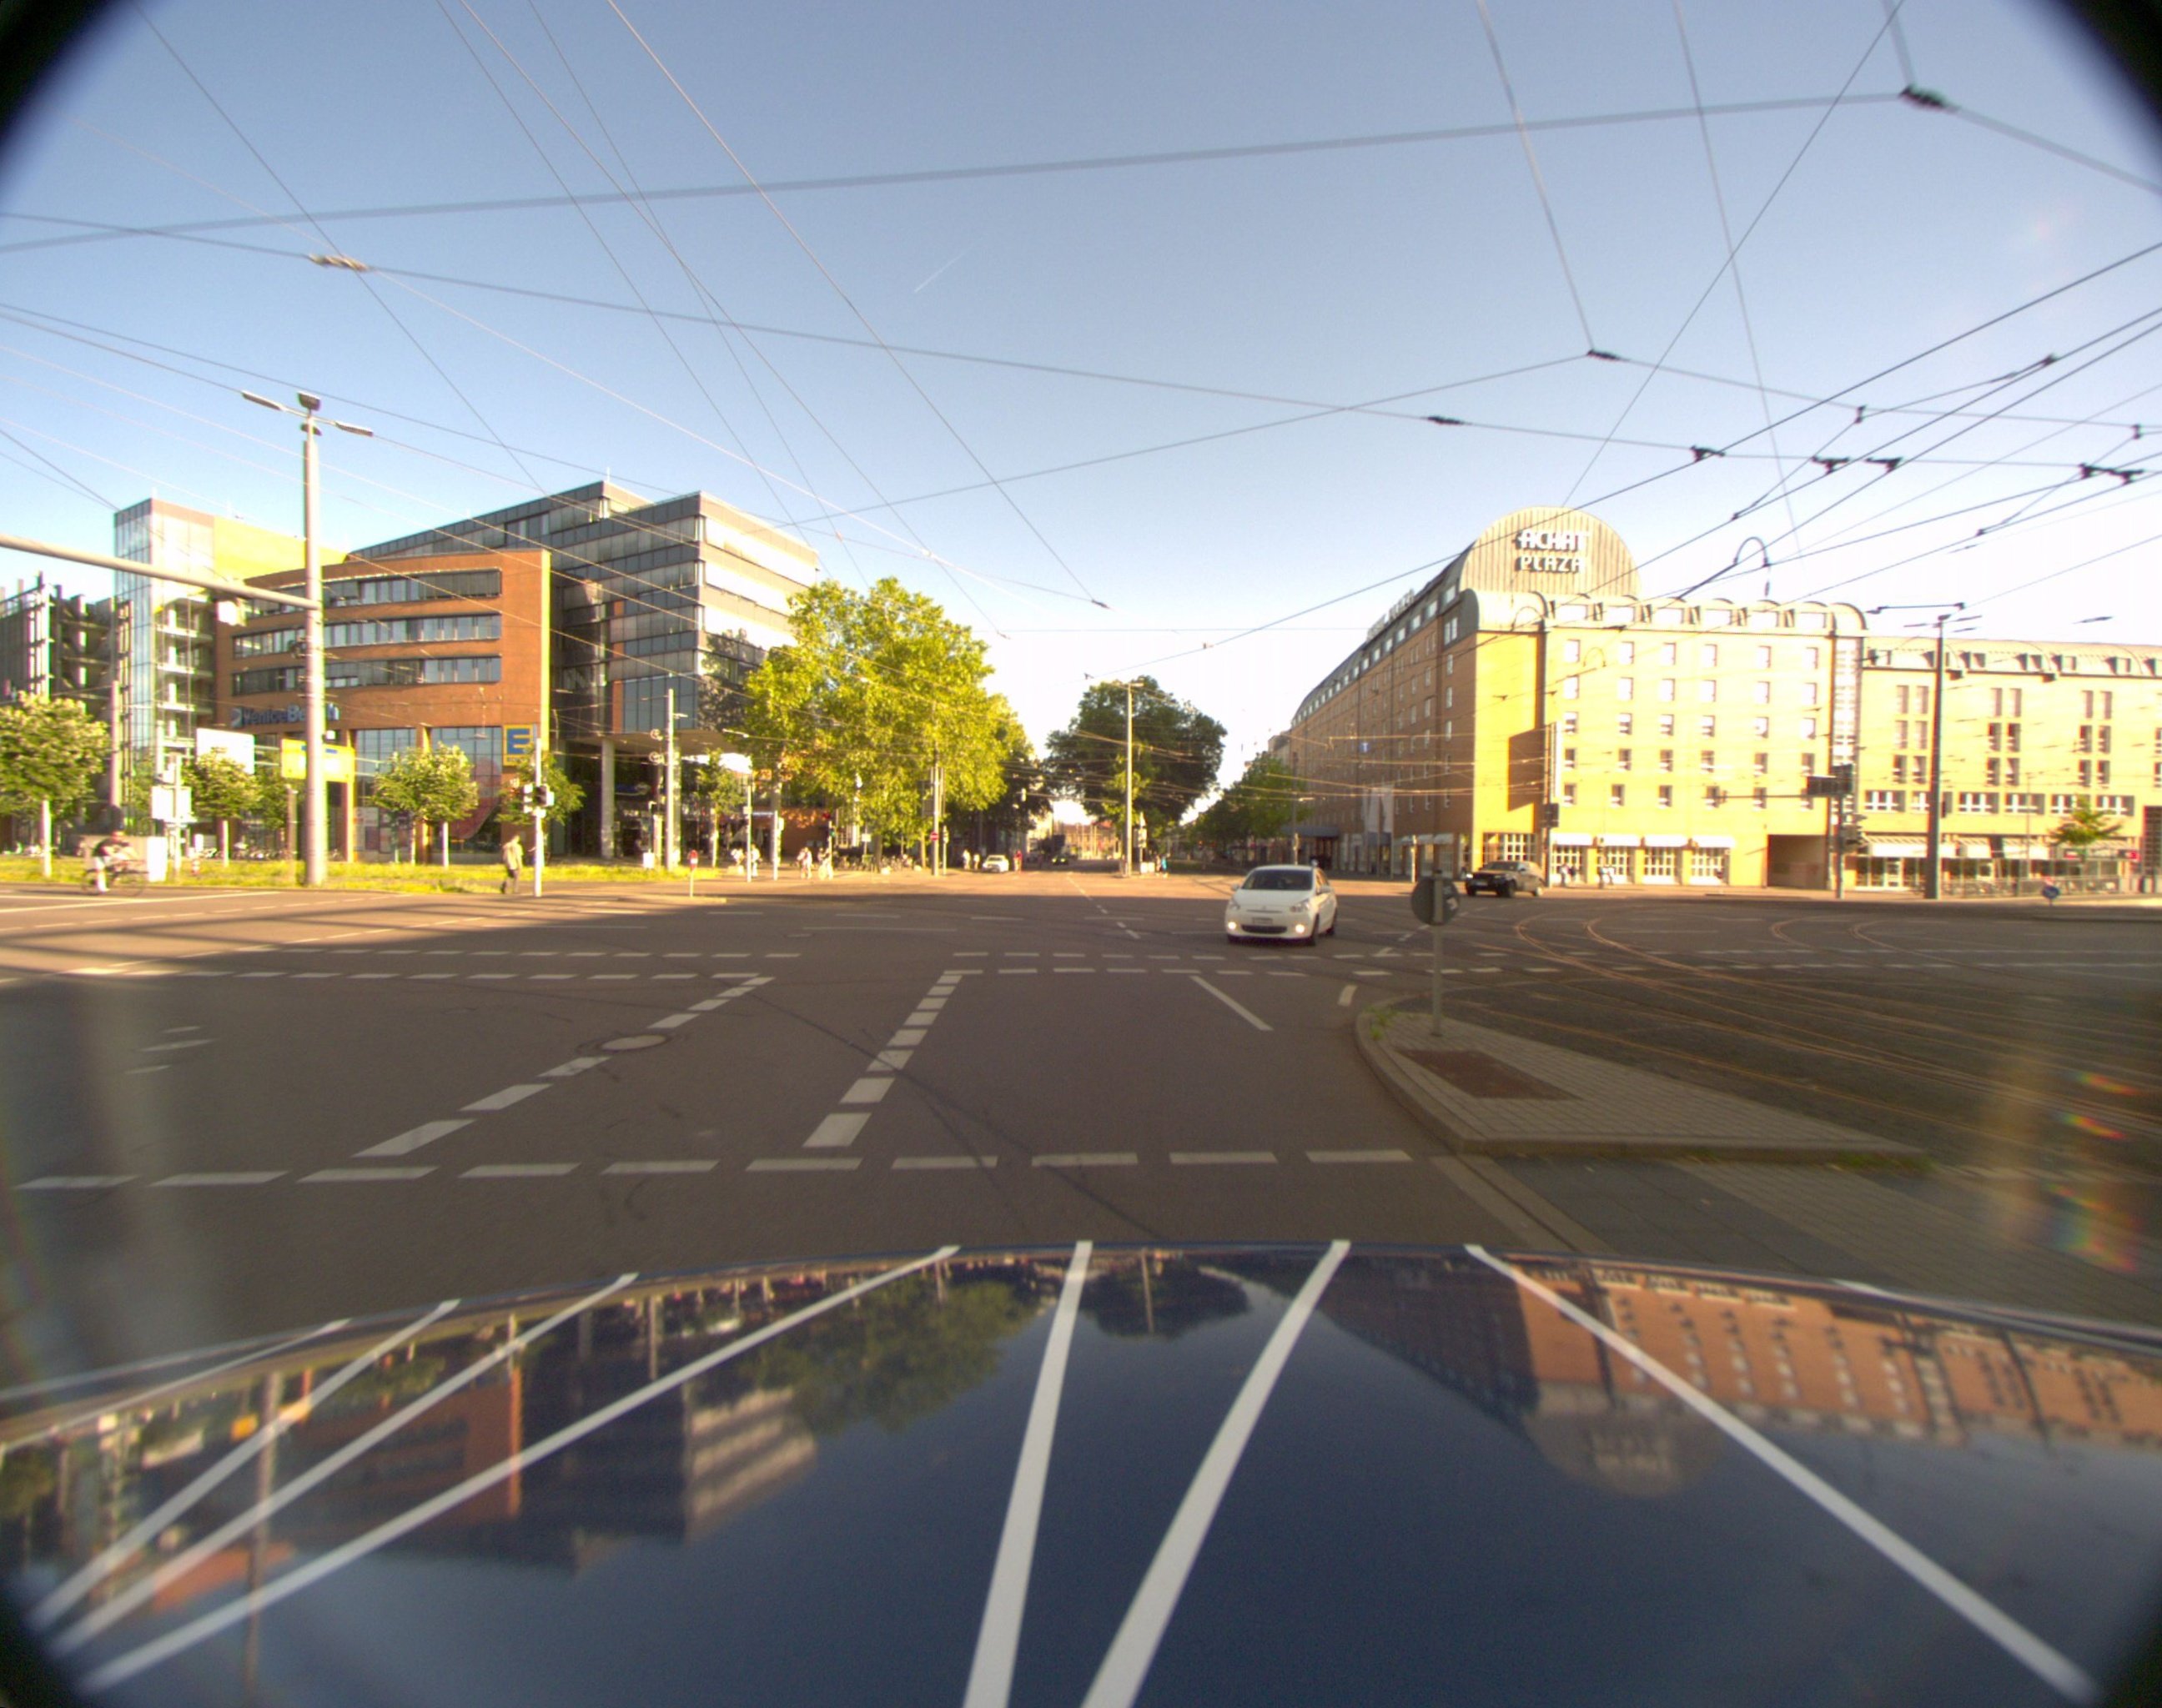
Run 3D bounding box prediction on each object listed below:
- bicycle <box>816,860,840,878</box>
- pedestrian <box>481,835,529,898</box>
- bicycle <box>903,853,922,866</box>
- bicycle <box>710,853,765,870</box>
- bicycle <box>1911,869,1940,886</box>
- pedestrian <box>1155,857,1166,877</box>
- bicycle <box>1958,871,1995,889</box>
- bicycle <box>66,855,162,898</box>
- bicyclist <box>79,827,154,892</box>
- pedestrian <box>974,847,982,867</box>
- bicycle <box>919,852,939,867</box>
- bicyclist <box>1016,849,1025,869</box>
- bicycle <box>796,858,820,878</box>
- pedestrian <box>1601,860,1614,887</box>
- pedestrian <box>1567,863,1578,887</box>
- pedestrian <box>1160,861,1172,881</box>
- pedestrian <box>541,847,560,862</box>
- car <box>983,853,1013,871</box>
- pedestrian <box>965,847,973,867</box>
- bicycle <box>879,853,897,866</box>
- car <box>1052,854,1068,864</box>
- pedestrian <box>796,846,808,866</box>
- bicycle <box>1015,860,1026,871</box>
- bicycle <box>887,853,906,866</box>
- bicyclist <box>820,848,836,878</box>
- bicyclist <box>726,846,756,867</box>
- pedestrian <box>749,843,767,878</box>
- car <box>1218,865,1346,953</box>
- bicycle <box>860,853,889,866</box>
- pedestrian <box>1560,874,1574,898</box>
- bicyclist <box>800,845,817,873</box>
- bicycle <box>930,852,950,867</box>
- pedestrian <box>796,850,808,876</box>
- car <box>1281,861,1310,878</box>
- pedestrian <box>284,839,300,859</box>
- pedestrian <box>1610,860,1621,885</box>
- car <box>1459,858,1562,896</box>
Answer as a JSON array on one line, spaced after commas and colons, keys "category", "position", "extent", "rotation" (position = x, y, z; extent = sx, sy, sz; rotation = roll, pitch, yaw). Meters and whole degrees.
[{"category": "bicycle", "position": [-14.525, 0.847, 43.696], "extent": [0.515, 1.015, 1.860], "rotation": [0, 1, 8]}, {"category": "pedestrian", "position": [-16.960, 0.338, 22.381], "extent": [0.676, 1.813, 0.885], "rotation": [0, 2, 2]}, {"category": "bicycle", "position": [-15.671, 0.504, 70.776], "extent": [0.879, 1.085, 2.925], "rotation": [1, 1, -30]}, {"category": "bicycle", "position": [-23.141, 0.496, 51.234], "extent": [3.177, 1.126, 1.043], "rotation": [1, 1, 1]}, {"category": "bicycle", "position": [62.181, 1.747, 55.961], "extent": [0.552, 1.142, 1.778], "rotation": [0, 2, 18]}, {"category": "pedestrian", "position": [6.205, 1.030, 59.425], "extent": [0.742, 1.530, 0.651], "rotation": [0, 0, -11]}, {"category": "bicycle", "position": [64.858, 1.869, 55.033], "extent": [0.553, 1.135, 1.775], "rotation": [-1, 2, 0]}, {"category": "bicycle", "position": [-25.378, 0.581, 19.959], "extent": [1.684, 1.101, 0.644], "rotation": [1, 1, -1]}, {"category": "bicyclist", "position": [-25.325, 0.138, 19.960], "extent": [0.993, 1.657, 0.766], "rotation": [1, 1, -1]}, {"category": "pedestrian", "position": [-9.222, 0.277, 67.971], "extent": [0.642, 1.766, 0.617], "rotation": [0, 1, -3]}, {"category": "bicycle", "position": [-13.902, 0.495, 69.495], "extent": [0.879, 1.228, 2.925], "rotation": [1, 1, -30]}, {"category": "bicyclist", "position": [-4.927, 0.375, 61.899], "extent": [0.637, 1.606, 0.928], "rotation": [1, 1, 1]}, {"category": "bicycle", "position": [-14.596, 0.752, 40.656], "extent": [0.515, 1.015, 1.634], "rotation": [0, 1, 9]}, {"category": "pedestrian", "position": [37.396, 1.380, 53.934], "extent": [0.734, 1.823, 0.496], "rotation": [-2, 3, -38]}, {"category": "pedestrian", "position": [35.175, 1.498, 54.343], "extent": [0.572, 1.757, 0.696], "rotation": [2, 0, 29]}, {"category": "pedestrian", "position": [6.542, 1.334, 58.751], "extent": [0.742, 1.530, 0.676], "rotation": [0, 0, -11]}, {"category": "pedestrian", "position": [-38.730, 0.013, 55.491], "extent": [0.812, 1.051, 0.787], "rotation": [1, 1, 20]}, {"category": "car", "position": [-6.944, 0.665, 64.281], "extent": [1.998, 1.477, 4.001], "rotation": [0, -1, 1]}, {"category": "pedestrian", "position": [-9.976, 0.263, 67.762], "extent": [0.642, 1.766, 0.617], "rotation": [0, 1, -3]}, {"category": "bicycle", "position": [-17.642, 0.476, 69.441], "extent": [0.879, 1.085, 2.925], "rotation": [1, 1, -30]}, {"category": "car", "position": [-3.089, 0.757, 114.717], "extent": [1.899, 1.525, 4.001], "rotation": [0, 1, 6]}, {"category": "pedestrian", "position": [-21.857, 0.160, 59.542], "extent": [0.562, 1.518, 0.779], "rotation": [1, 1, 18]}, {"category": "bicycle", "position": [-4.938, 0.925, 61.904], "extent": [0.652, 0.905, 1.859], "rotation": [1, 0, 1]}, {"category": "bicycle", "position": [-17.122, 0.491, 70.355], "extent": [0.879, 1.085, 2.925], "rotation": [1, 1, -30]}, {"category": "bicyclist", "position": [-14.522, 0.499, 43.658], "extent": [0.569, 1.685, 0.745], "rotation": [0, 1, 8]}, {"category": "bicyclist", "position": [-22.915, 0.175, 51.239], "extent": [1.562, 1.373, 1.043], "rotation": [1, 1, 1]}, {"category": "pedestrian", "position": [-17.161, 0.351, 40.338], "extent": [0.514, 1.826, 0.704], "rotation": [0, 0, 32]}, {"category": "car", "position": [4.208, 0.995, 15.401], "extent": [1.637, 1.458, 4.194], "rotation": [1, 0, 27]}, {"category": "bicycle", "position": [-18.573, 0.456, 68.317], "extent": [2.923, 1.085, 0.880], "rotation": [2, 1, 38]}, {"category": "pedestrian", "position": [35.637, 2.332, 55.708], "extent": [0.602, 1.717, 0.604], "rotation": [0, 0, -3]}, {"category": "bicyclist", "position": [-14.591, 0.246, 40.671], "extent": [0.569, 1.494, 0.745], "rotation": [0, 1, 9]}, {"category": "bicycle", "position": [-13.013, 0.507, 70.041], "extent": [0.879, 1.228, 2.925], "rotation": [1, 1, -30]}, {"category": "pedestrian", "position": [-16.830, 0.540, 45.818], "extent": [0.489, 1.573, 0.659], "rotation": [1, 1, 0]}, {"category": "car", "position": [20.747, 1.452, 73.630], "extent": [1.795, 1.457, 4.312], "rotation": [2, 1, 5]}, {"category": "pedestrian", "position": [-61.832, -0.370, 59.557], "extent": [0.621, 1.560, 0.709], "rotation": [2, 1, 20]}, {"category": "pedestrian", "position": [38.238, 1.326, 54.337], "extent": [0.577, 1.764, 0.406], "rotation": [2, 3, 36]}, {"category": "car", "position": [19.365, 1.011, 34.248], "extent": [4.362, 1.652, 1.952], "rotation": [1, -1, -27]}]
